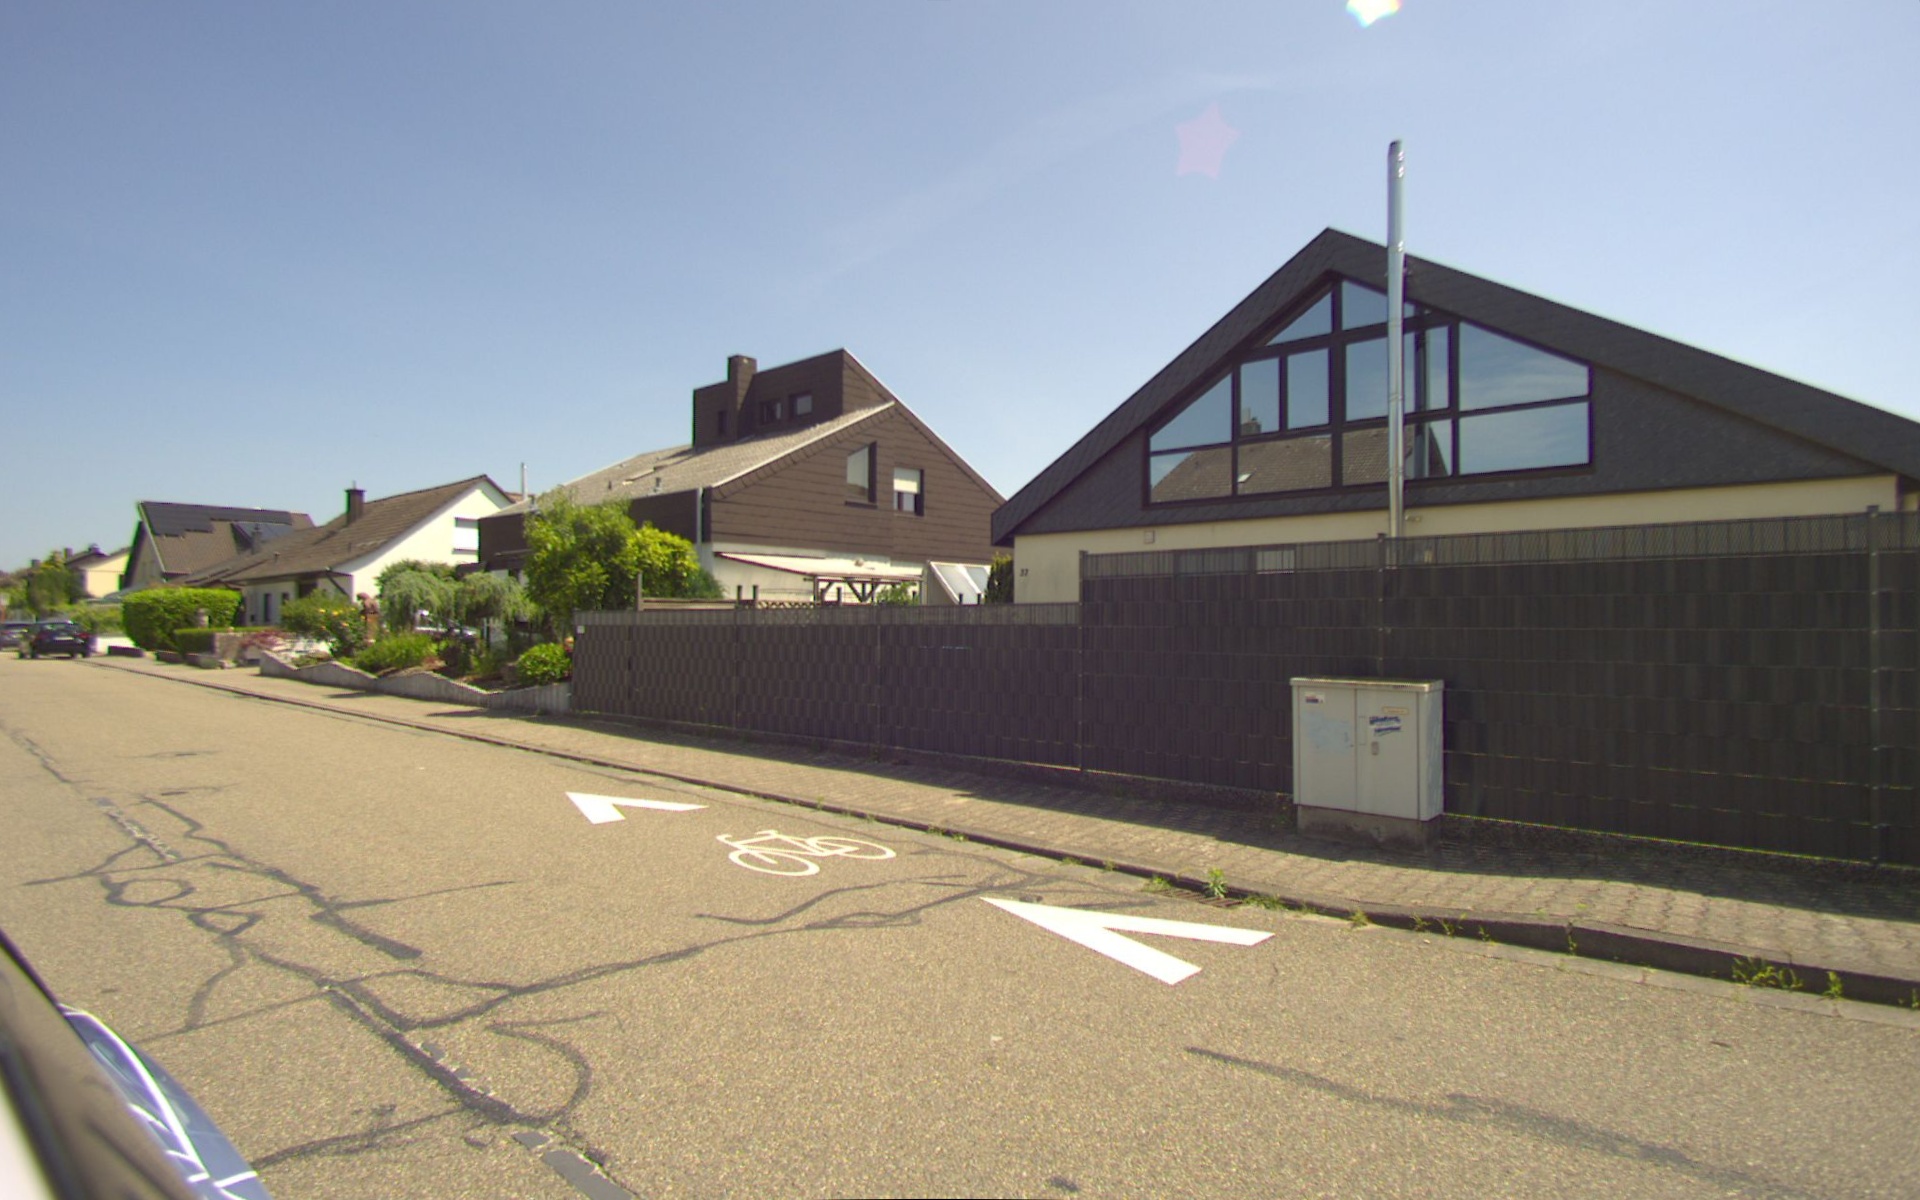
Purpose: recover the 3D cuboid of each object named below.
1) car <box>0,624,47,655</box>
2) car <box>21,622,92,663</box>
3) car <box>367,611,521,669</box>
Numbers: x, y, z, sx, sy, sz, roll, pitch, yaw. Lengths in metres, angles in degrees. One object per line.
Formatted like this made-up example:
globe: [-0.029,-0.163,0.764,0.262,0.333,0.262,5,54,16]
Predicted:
car: [-45.939,1.900,49.301,1.971,1.408,4.002,1,-1,-45]
car: [-34.063,1.570,38.114,1.782,1.408,4.002,1,-1,-45]
car: [-16.296,1.214,32.079,1.901,1.697,3.946,-1,-1,40]
